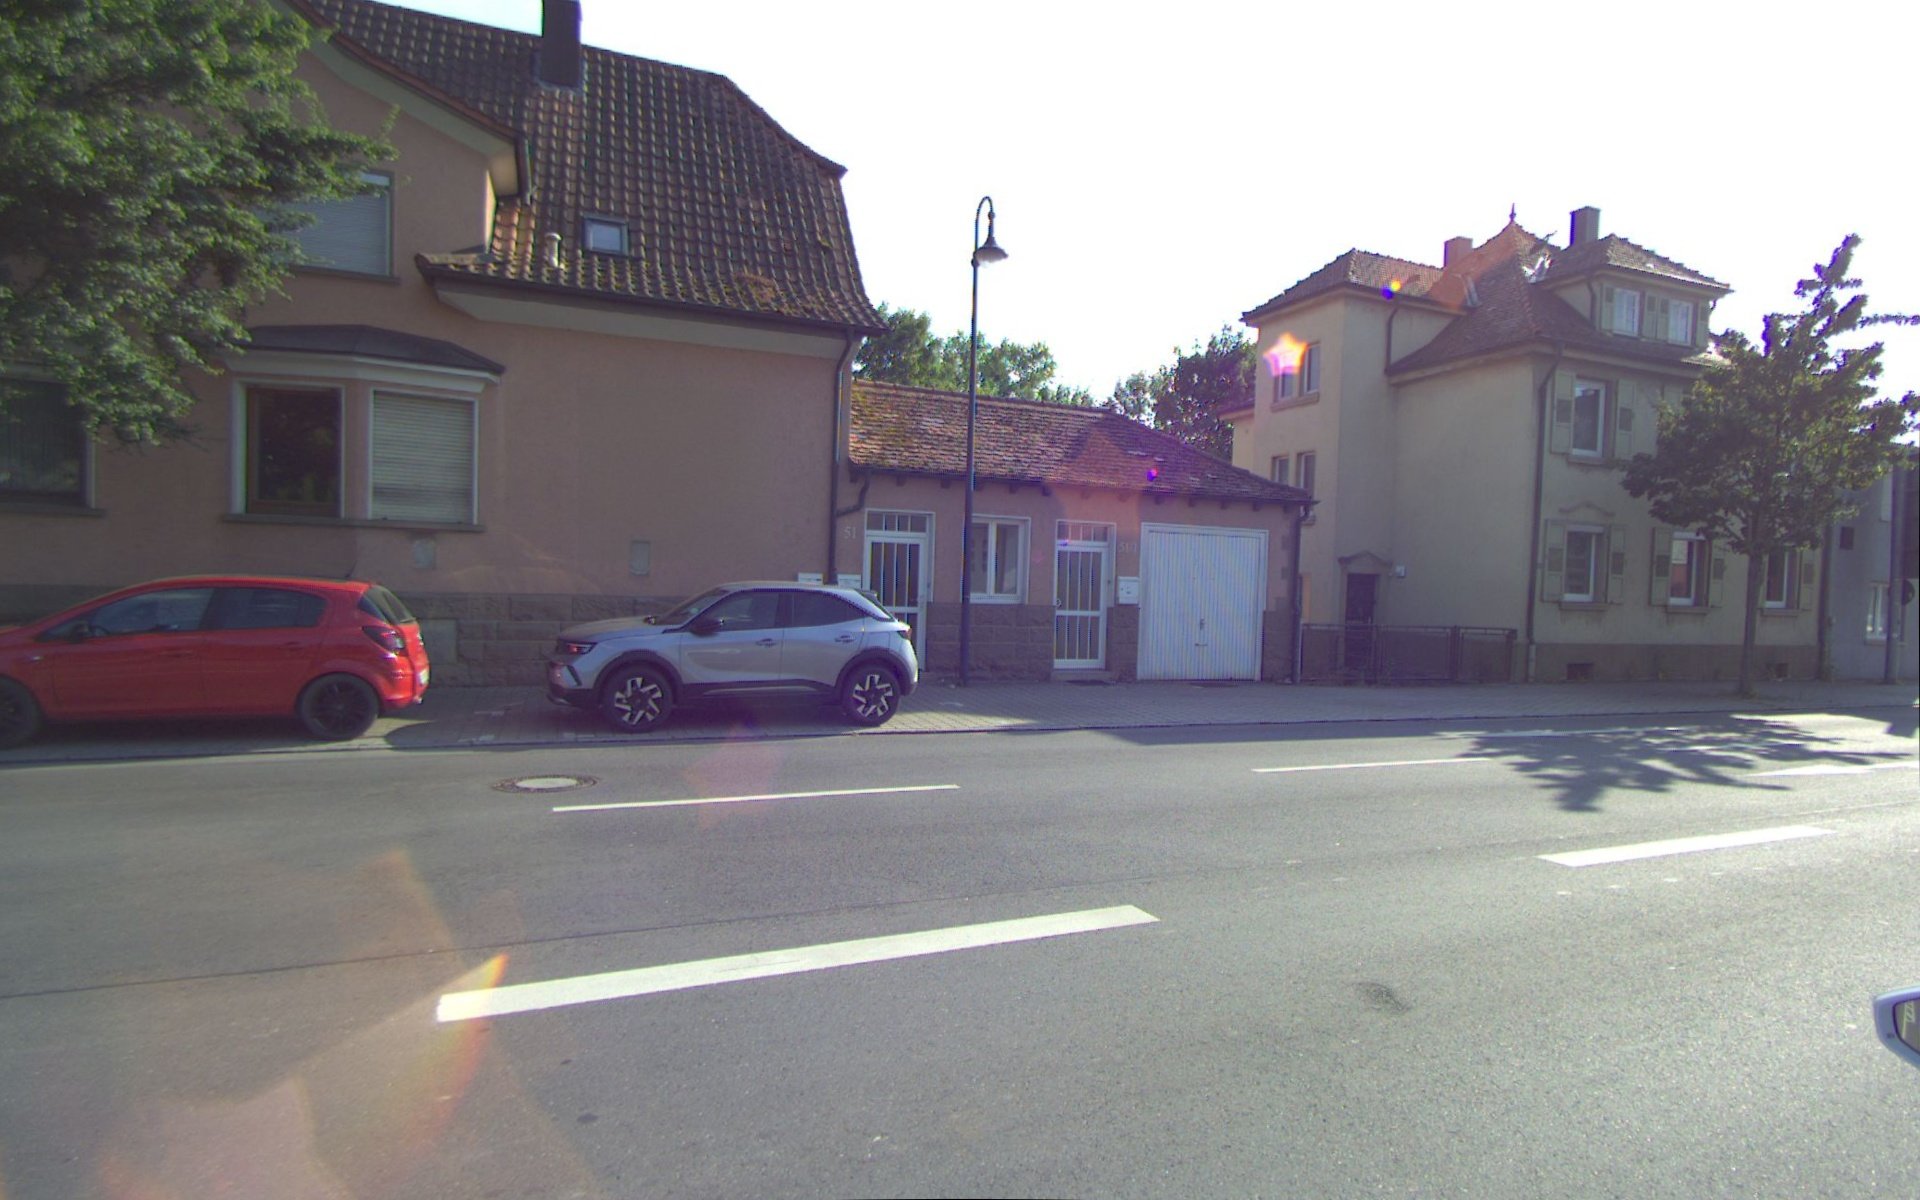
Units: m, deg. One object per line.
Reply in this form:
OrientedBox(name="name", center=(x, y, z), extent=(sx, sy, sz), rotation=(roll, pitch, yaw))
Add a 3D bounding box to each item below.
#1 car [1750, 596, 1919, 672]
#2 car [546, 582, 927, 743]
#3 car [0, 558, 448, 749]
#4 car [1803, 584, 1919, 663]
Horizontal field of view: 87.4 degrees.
OrientedBox(name="car", center=(27.033, 0.981, 30.073), extent=(1.909, 2.026, 4.959), rotation=(1, 1, -25))
OrientedBox(name="car", center=(-2.540, 0.624, 11.384), extent=(3.942, 1.499, 1.752), rotation=(1, 3, -22))
OrientedBox(name="car", center=(-7.109, 0.452, 9.425), extent=(3.942, 1.507, 1.662), rotation=(1, 3, -22))
OrientedBox(name="car", center=(32.034, 0.798, 33.261), extent=(2.163, 2.513, 5.903), rotation=(0, 1, -24))
